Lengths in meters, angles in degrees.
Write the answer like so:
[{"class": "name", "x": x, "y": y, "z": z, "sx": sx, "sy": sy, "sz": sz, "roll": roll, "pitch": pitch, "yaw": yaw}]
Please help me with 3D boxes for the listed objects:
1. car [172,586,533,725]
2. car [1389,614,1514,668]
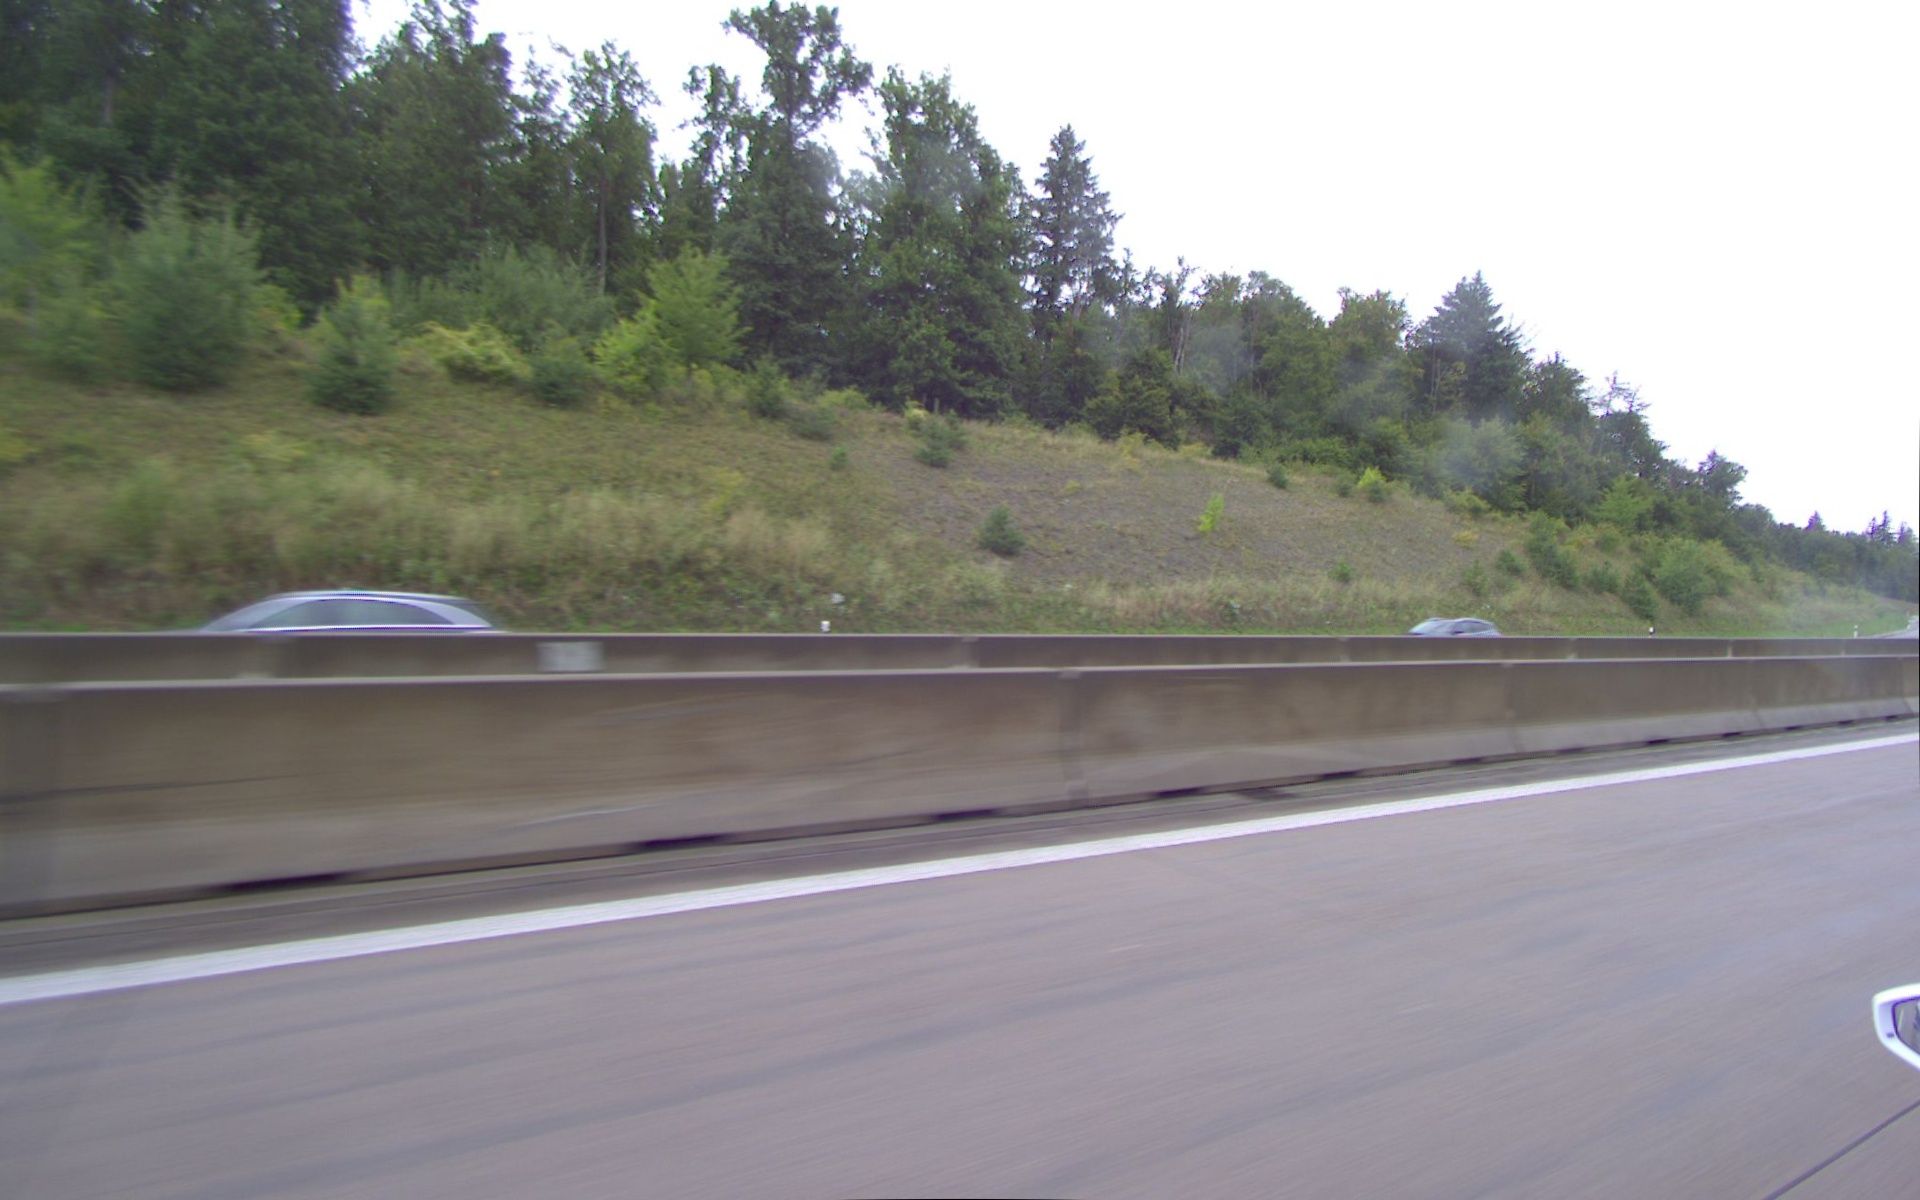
[{"class": "car", "x": -8.093, "y": 0.715, "z": 13.726, "sx": 3.954, "sy": 1.660, "sz": 1.768, "roll": 2, "pitch": -1, "yaw": -31}, {"class": "car", "x": 16.385, "y": 1.354, "z": 33.455, "sx": 4.206, "sy": 1.660, "sz": 1.767, "roll": 2, "pitch": -1, "yaw": -32}]
